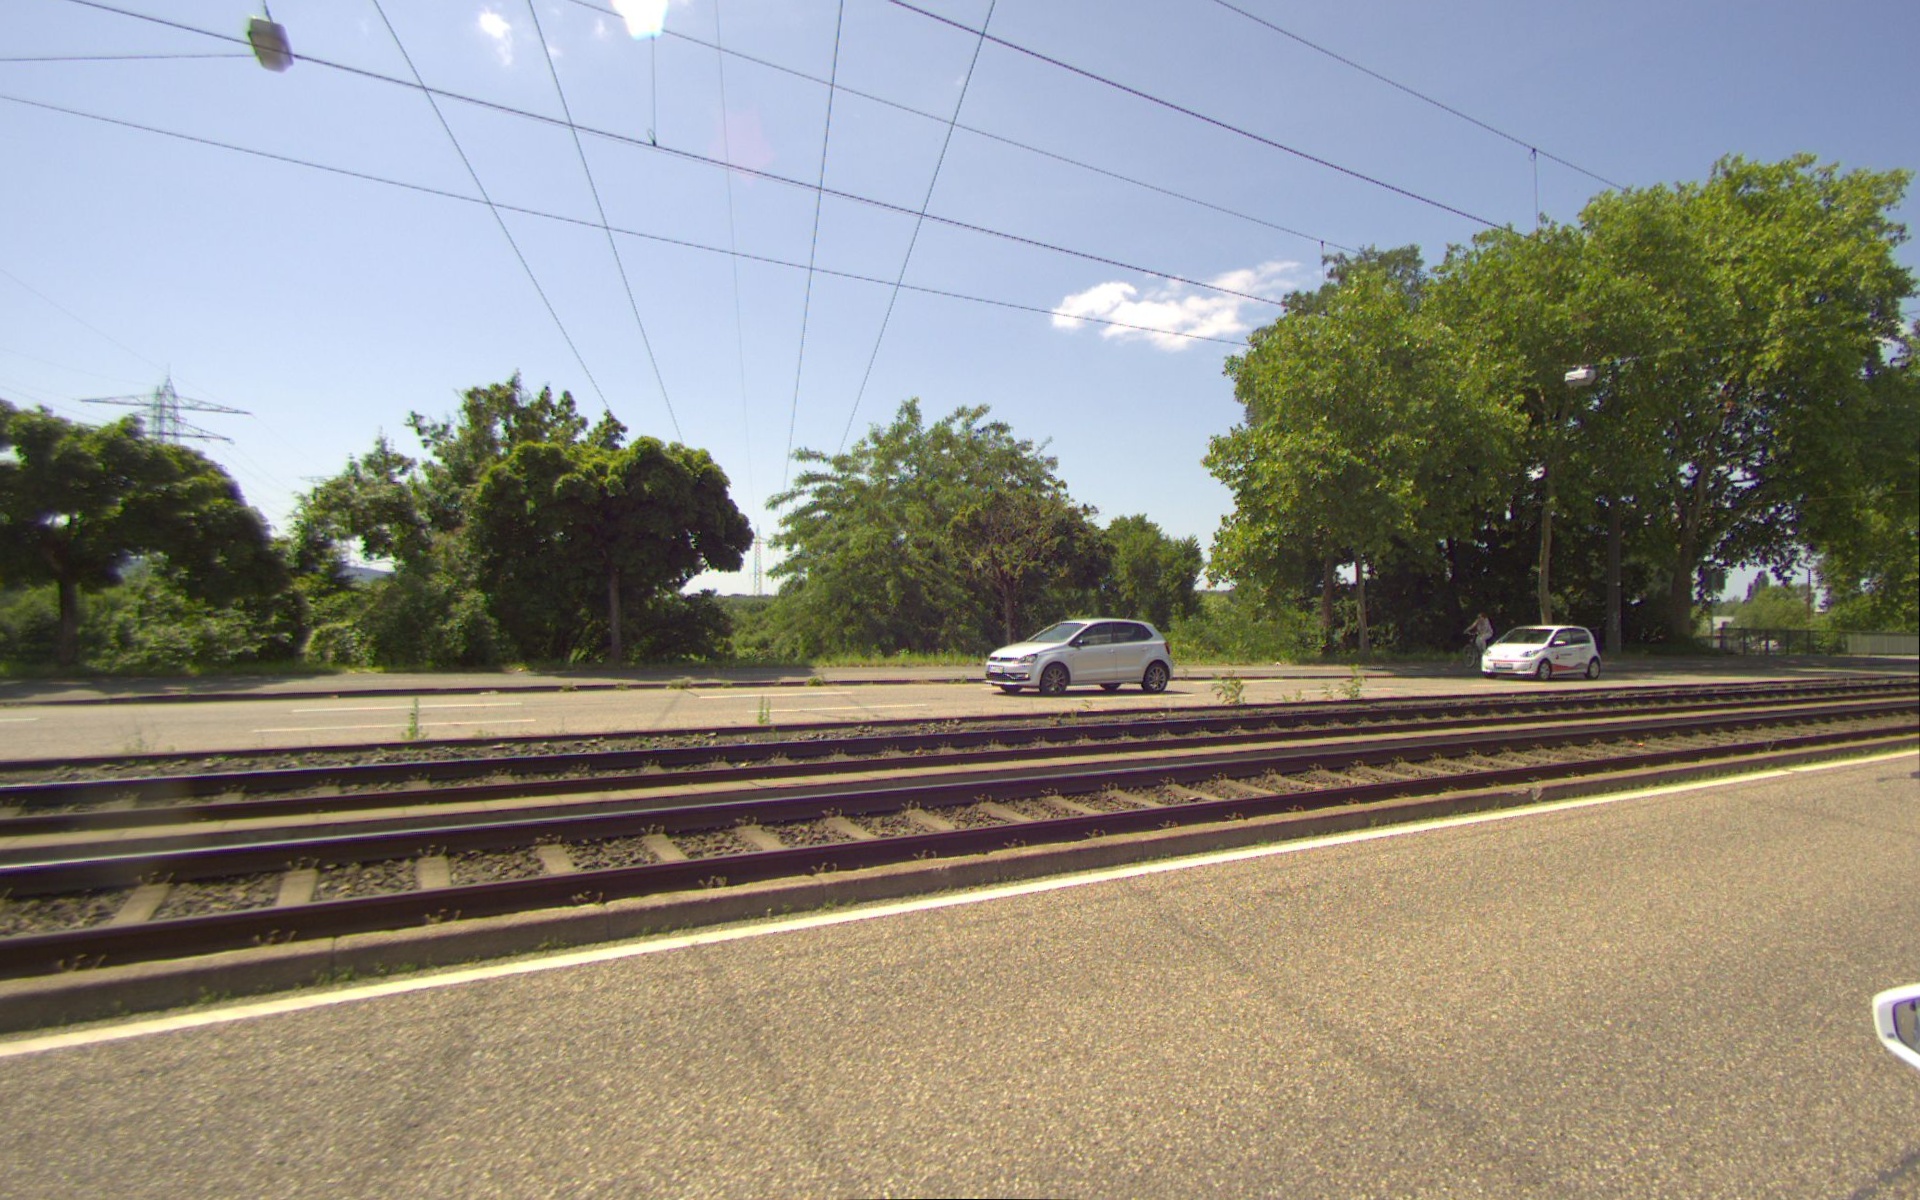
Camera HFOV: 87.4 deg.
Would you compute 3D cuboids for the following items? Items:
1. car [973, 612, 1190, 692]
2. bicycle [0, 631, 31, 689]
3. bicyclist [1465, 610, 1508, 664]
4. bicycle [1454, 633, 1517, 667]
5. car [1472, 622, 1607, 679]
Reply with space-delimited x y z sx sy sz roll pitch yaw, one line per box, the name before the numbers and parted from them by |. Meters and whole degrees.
car | 2.419 0.989 19.720 4.078 1.440 1.629 1 -2 -30
bicycle | -15.988 0.936 15.654 2.093 0.871 0.648 1 1 -27
bicyclist | 16.440 1.156 31.365 1.047 1.639 0.621 1 2 -24
bicycle | 16.430 1.565 31.387 2.026 0.993 0.621 1 1 -25
car | 15.907 1.362 27.546 3.679 1.455 1.628 1 -2 -31
